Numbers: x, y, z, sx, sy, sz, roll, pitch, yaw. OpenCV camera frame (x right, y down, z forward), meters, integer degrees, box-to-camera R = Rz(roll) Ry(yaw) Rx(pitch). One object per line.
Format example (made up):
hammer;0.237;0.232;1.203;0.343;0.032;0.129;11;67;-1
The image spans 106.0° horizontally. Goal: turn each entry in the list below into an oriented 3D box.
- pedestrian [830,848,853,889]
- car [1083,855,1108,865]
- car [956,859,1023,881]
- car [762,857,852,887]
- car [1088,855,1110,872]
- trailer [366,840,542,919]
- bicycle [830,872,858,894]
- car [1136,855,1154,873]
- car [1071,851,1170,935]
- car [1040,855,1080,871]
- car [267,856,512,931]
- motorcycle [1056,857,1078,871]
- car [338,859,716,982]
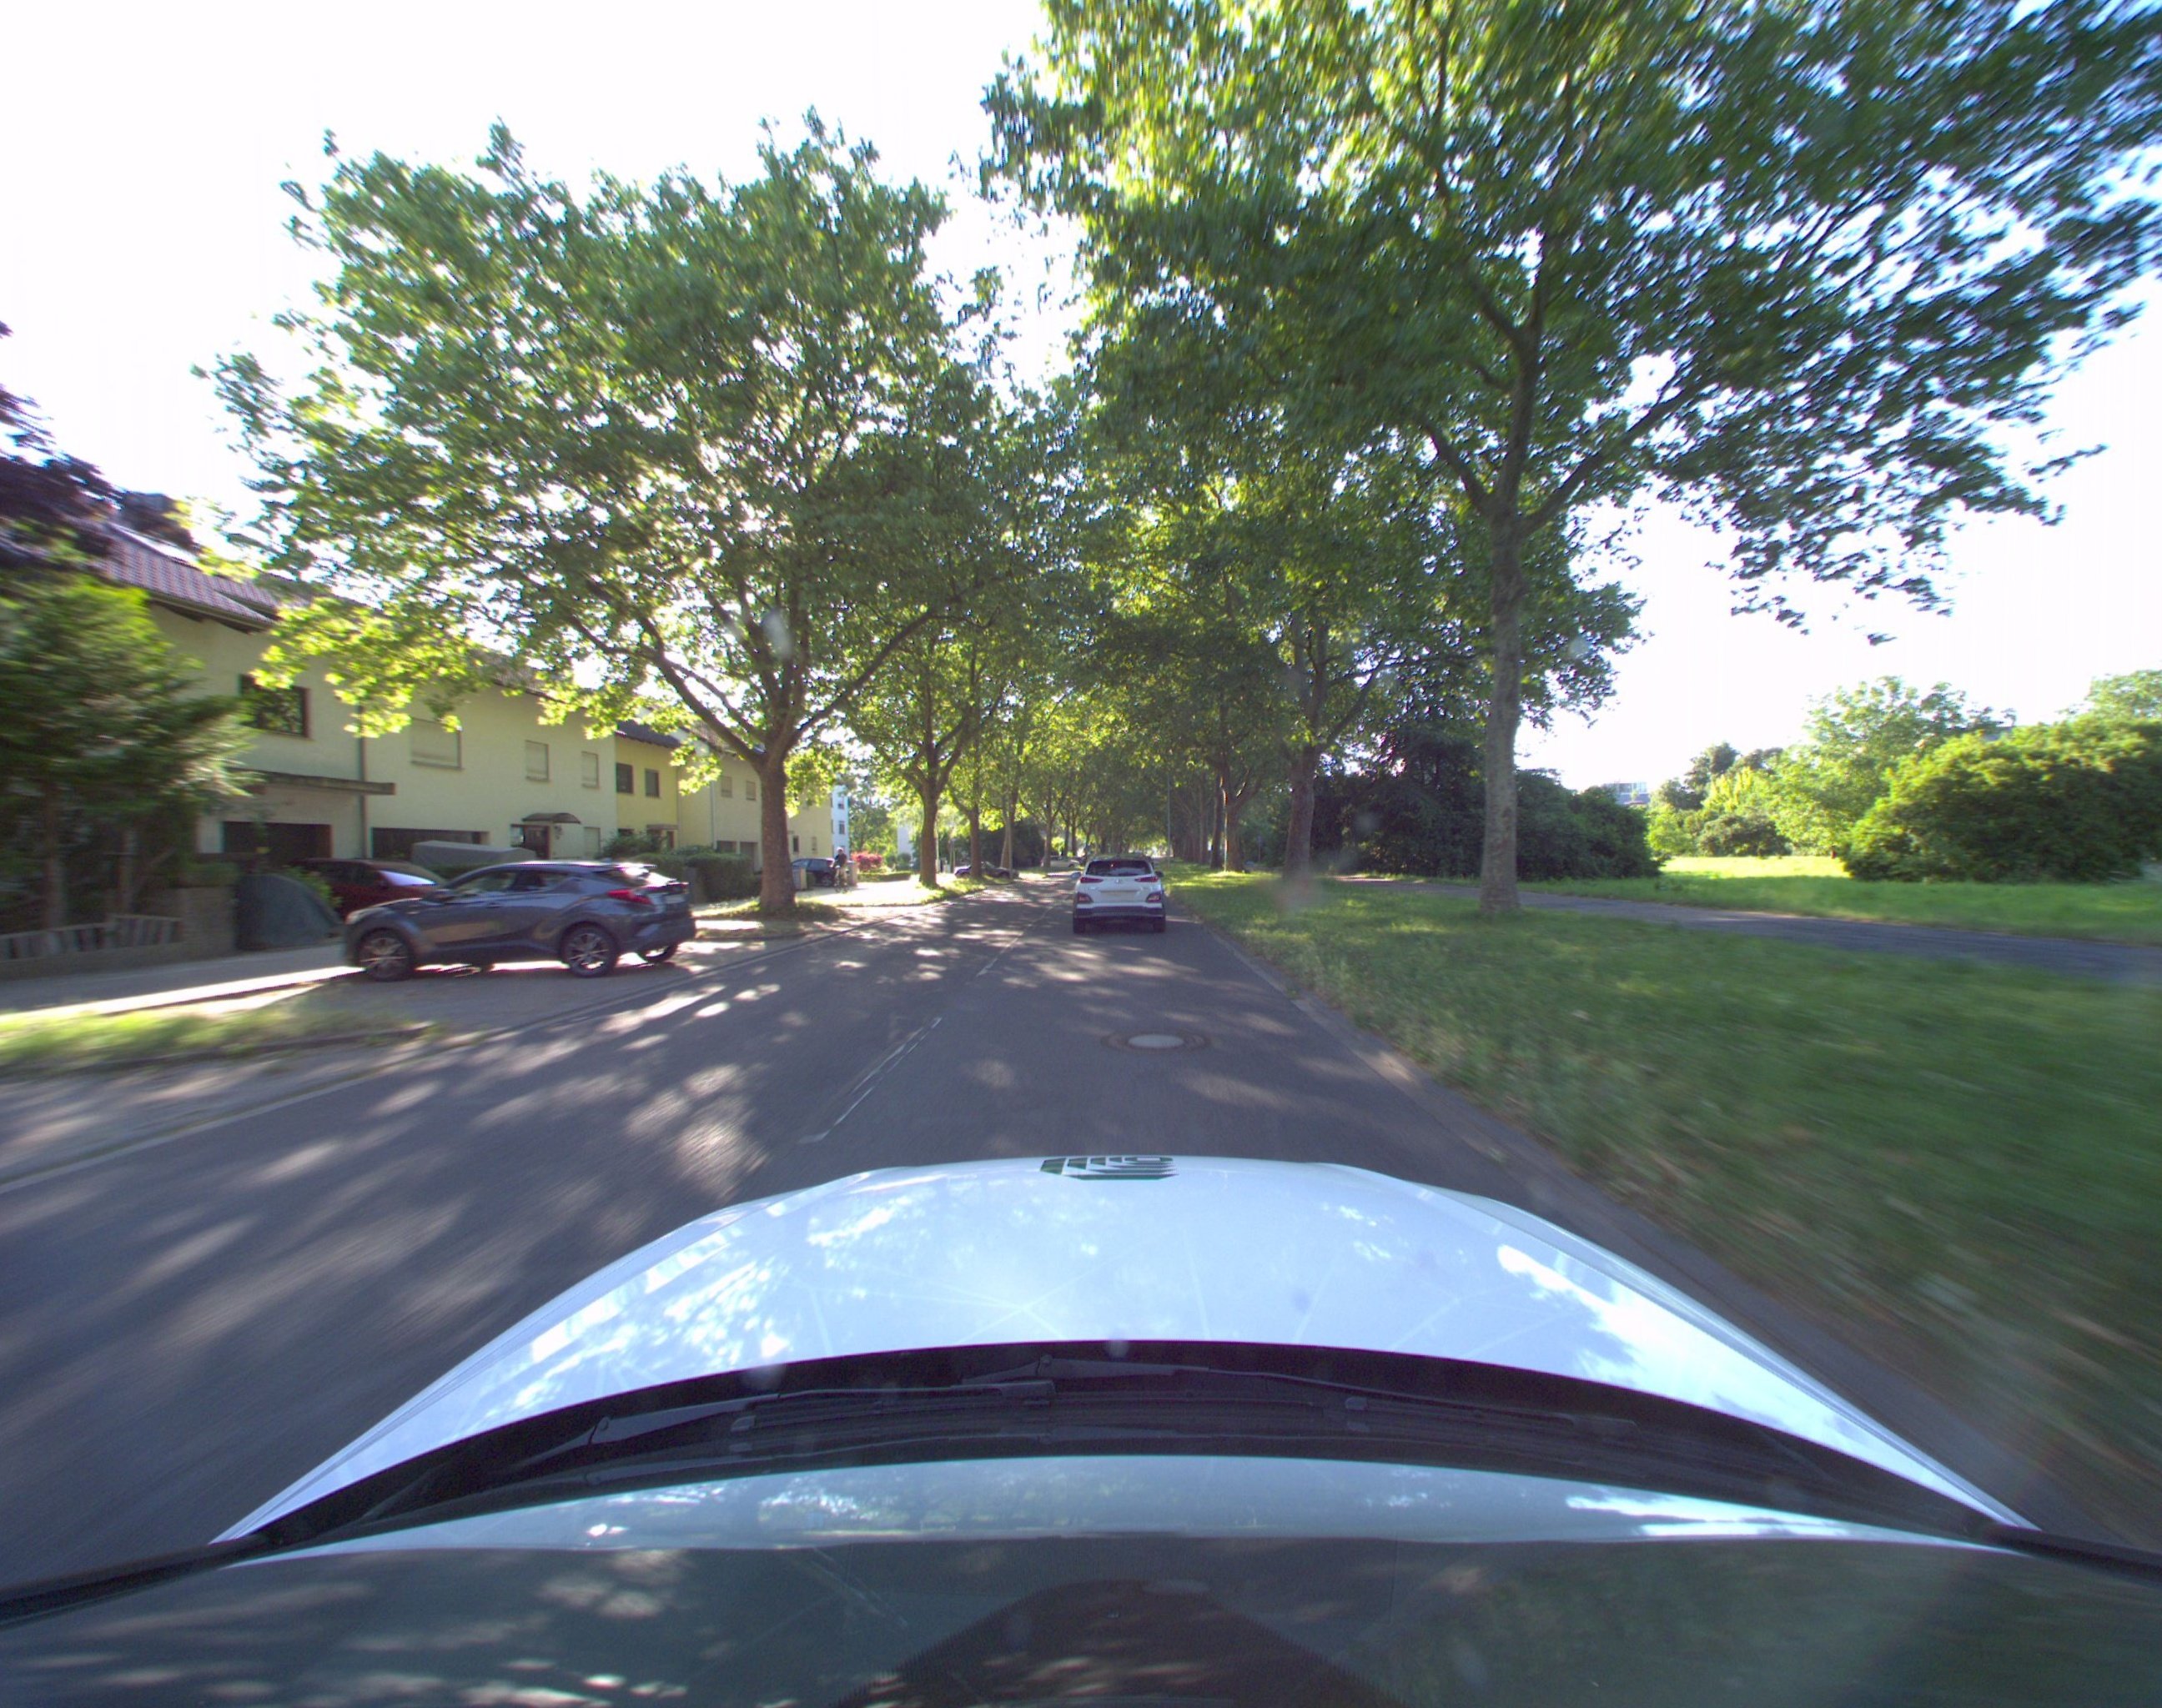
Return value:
pedestrian;-10.359;0.615;35.297;0.614;1.716;1.066;-1;-1;3
car;2.398;0.978;131.157;3.972;1.424;1.810;-1;0;1
car;-5.598;0.978;49.898;3.810;1.316;1.791;0;0;2
car;-14.203;0.919;42.373;3.970;1.464;1.903;1;0;3
car;1.717;0.871;76.358;1.776;1.512;3.843;0;0;4
trailer;-16.937;0.654;22.110;3.441;1.926;1.644;3;1;1
bicycle;-10.277;1.229;35.407;0.468;0.880;2.157;-1;0;3
car;6.536;1.016;83.491;1.670;1.696;3.746;-1;0;1
car;0.710;0.728;17.257;1.830;1.555;3.998;-1;0;-1
car;-2.265;0.935;87.183;4.168;1.584;2.000;-1;-1;1
car;-16.018;0.873;19.021;3.971;1.477;2.001;3;0;2
motorcycle;-1.502;1.104;89.566;2.377;1.388;0.648;-2;1;0
car;-7.507;0.855;11.341;3.975;1.518;1.817;-1;0;0
